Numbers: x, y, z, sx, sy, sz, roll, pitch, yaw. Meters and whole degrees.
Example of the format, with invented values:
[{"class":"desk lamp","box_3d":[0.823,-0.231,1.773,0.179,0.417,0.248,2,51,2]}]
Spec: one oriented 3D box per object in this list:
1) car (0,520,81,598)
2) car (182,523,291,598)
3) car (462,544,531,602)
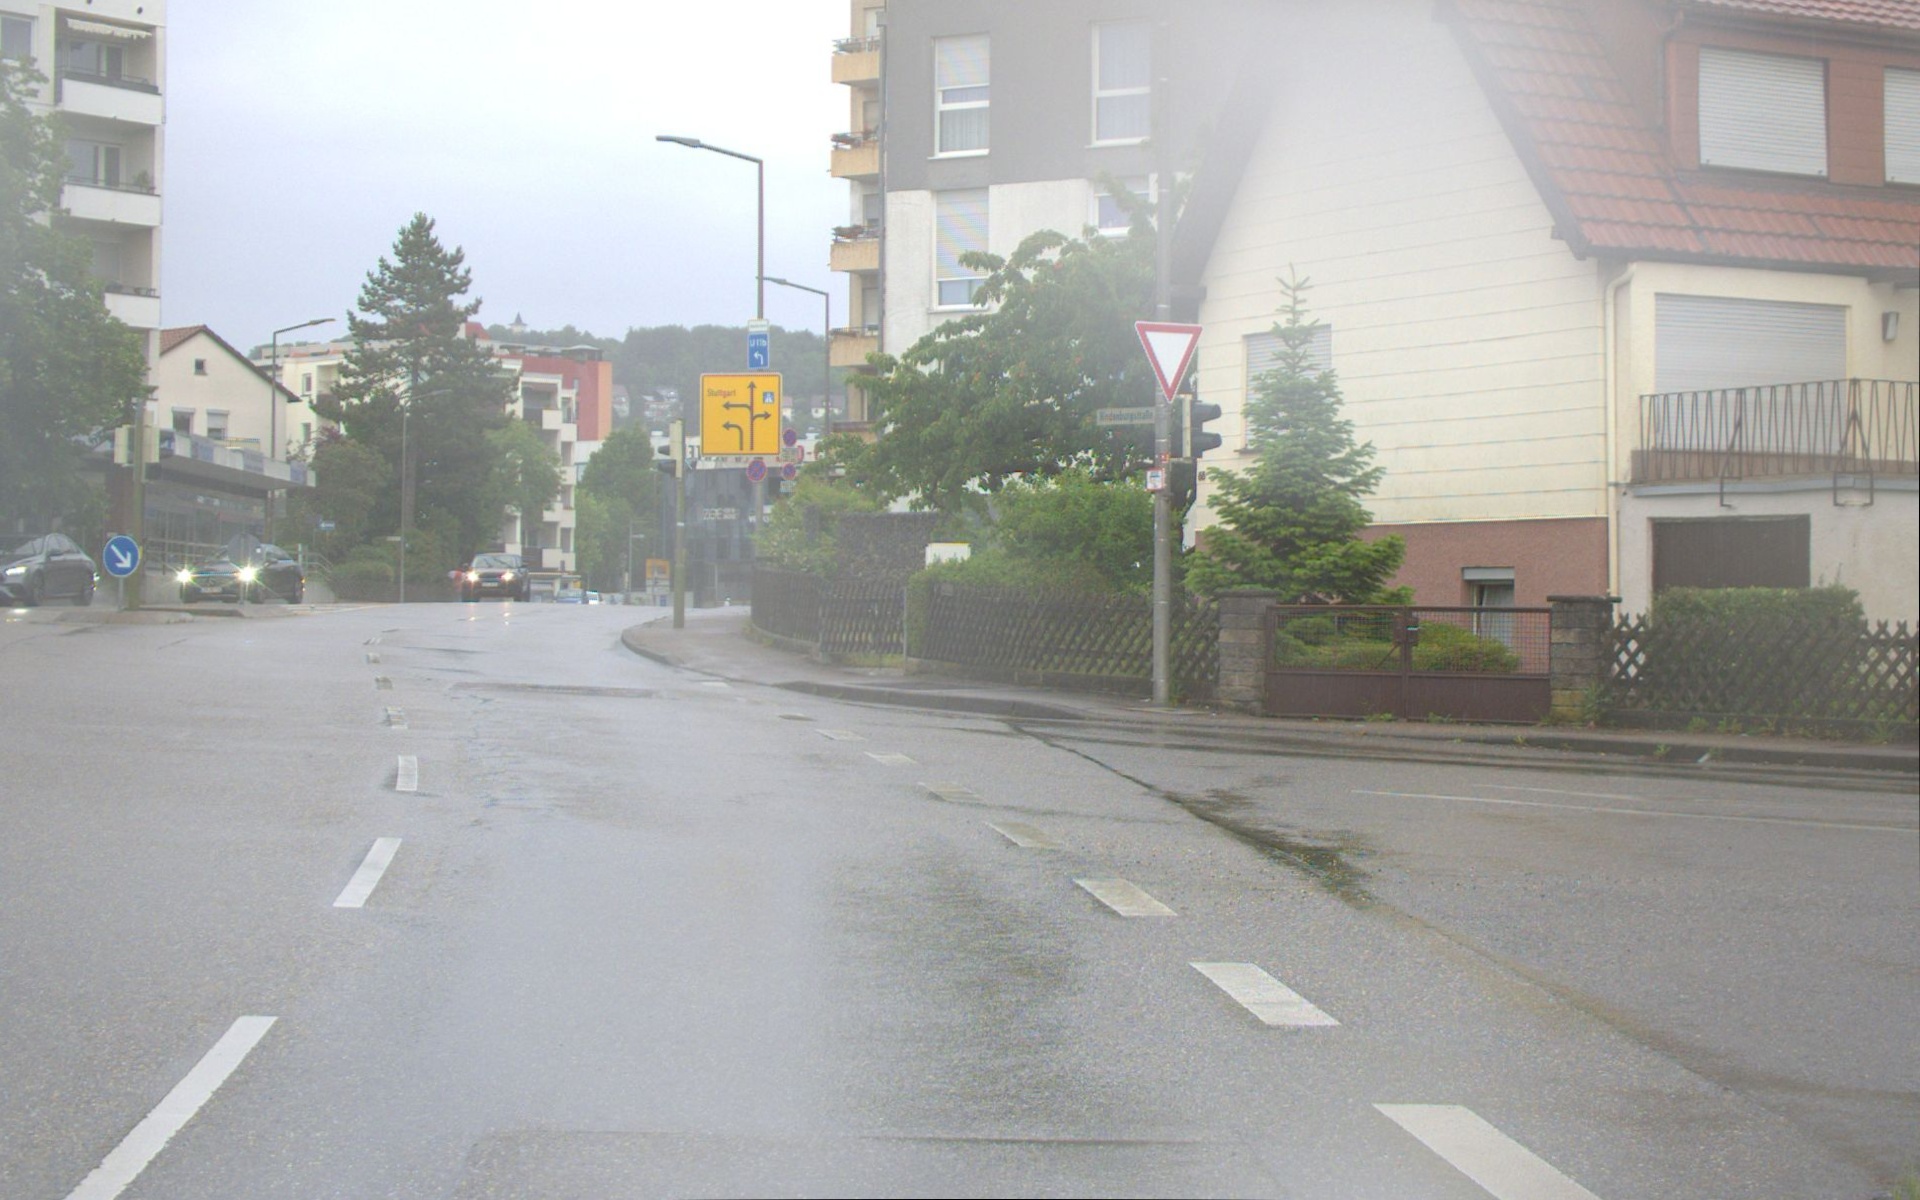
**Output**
[{"class":"car","box_3d":[-18.260,-0.785,66.138,1.993,1.458,4.001,1,0,-5]},{"class":"car","box_3d":[-16.767,-0.914,79.823,1.993,1.673,4.001,1,0,-5]},{"class":"car","box_3d":[-14.880,-0.876,110.426,1.993,1.805,4.001,1,0,-5]}]
